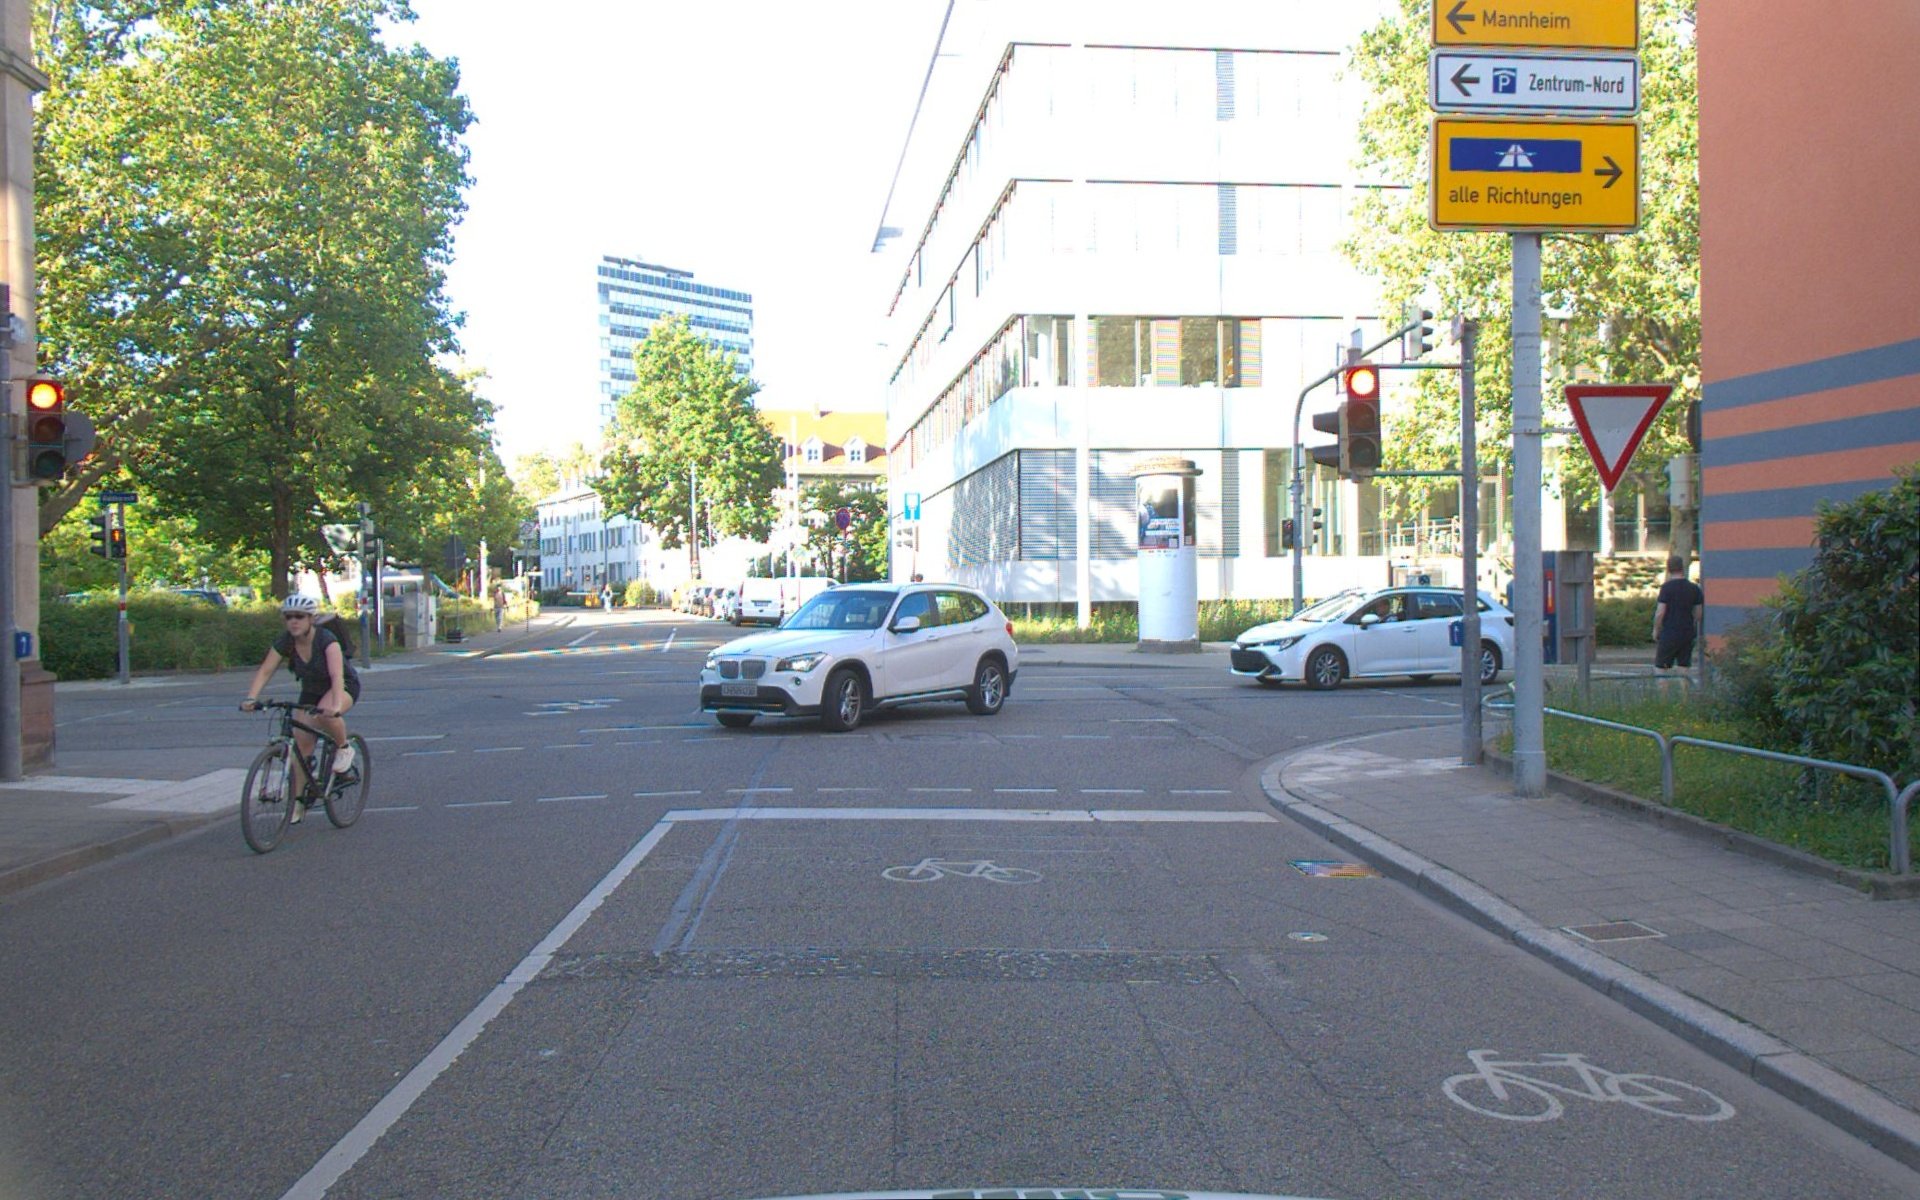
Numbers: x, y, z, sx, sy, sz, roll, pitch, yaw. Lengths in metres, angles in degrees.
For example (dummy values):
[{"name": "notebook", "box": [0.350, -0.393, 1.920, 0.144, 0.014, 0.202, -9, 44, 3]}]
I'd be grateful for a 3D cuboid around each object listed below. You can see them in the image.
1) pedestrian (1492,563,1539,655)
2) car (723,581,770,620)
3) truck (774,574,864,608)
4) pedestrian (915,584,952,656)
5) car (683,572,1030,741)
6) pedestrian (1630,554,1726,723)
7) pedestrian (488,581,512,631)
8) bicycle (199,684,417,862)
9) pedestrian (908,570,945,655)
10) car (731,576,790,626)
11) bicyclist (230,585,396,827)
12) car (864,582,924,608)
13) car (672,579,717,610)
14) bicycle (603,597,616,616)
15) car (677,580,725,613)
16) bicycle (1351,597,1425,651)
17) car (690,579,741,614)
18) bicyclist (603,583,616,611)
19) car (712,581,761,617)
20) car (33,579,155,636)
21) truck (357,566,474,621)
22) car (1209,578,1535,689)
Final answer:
[{"name": "pedestrian", "box": [11.451, 0.178, 34.121, 0.817, 1.872, 0.710, 1, 0, 13]}, {"name": "car", "box": [-9.434, -0.015, 72.807, 1.854, 1.582, 4.404, 0, 1, -10]}, {"name": "truck", "box": [-8.766, -0.543, 102.933, 5.258, 2.049, 1.989, -1, 0, -20]}, {"name": "pedestrian", "box": [-0.601, 0.439, 37.069, 0.551, 1.567, 0.673, -4, 1, -19]}, {"name": "car", "box": [-1.045, 0.541, 18.819, 1.656, 1.610, 4.261, 0, 2, 35]}, {"name": "pedestrian", "box": [8.166, 0.425, 18.832, 0.692, 1.872, 0.837, 1, 0, -1]}, {"name": "pedestrian", "box": [-16.484, 0.225, 59.274, 0.693, 1.753, 0.949, -2, 0, -20]}, {"name": "bicycle", "box": [-4.263, 1.097, 10.960, 0.671, 0.940, 1.767, -3, 0, 1]}, {"name": "pedestrian", "box": [-0.757, 0.273, 37.798, 0.547, 1.882, 0.678, -3, 1, 15]}, {"name": "car", "box": [-7.830, 0.000, 64.564, 2.047, 1.827, 4.404, 0, 1, -10]}, {"name": "bicyclist", "box": [-4.265, 0.670, 10.963, 0.671, 1.501, 0.871, -3, 0, 1]}, {"name": "car", "box": [-4.152, -0.324, 104.188, 3.502, 1.573, 1.549, -1, 0, -20]}, {"name": "car", "box": [-15.336, -0.323, 95.275, 1.860, 1.684, 4.391, 0, 1, -19]}, {"name": "bicycle", "box": [-19.308, 0.364, 91.126, 0.604, 0.986, 1.837, -1, 1, -9]}, {"name": "car", "box": [-14.113, -0.211, 89.871, 1.860, 1.684, 4.391, 0, 1, -19]}, {"name": "bicycle", "box": [9.352, 0.511, 36.177, 0.503, 1.067, 1.667, -3, 4, -35]}, {"name": "car", "box": [-12.664, -0.212, 85.379, 1.860, 1.684, 4.391, 0, 1, -19]}, {"name": "bicyclist", "box": [-19.318, -0.177, 91.137, 0.604, 1.559, 0.901, -1, 0, -9]}, {"name": "car", "box": [-10.600, -0.089, 78.161, 1.856, 1.582, 4.400, 0, 1, -14]}, {"name": "car", "box": [-39.968, 0.325, 76.453, 4.472, 2.433, 2.069, -2, 0, -10]}, {"name": "truck", "box": [-24.556, -0.325, 74.768, 4.741, 2.441, 2.082, 0, 1, -11]}, {"name": "car", "box": [6.171, 0.456, 24.850, 4.461, 1.501, 1.883, -1, 0, -19]}]
